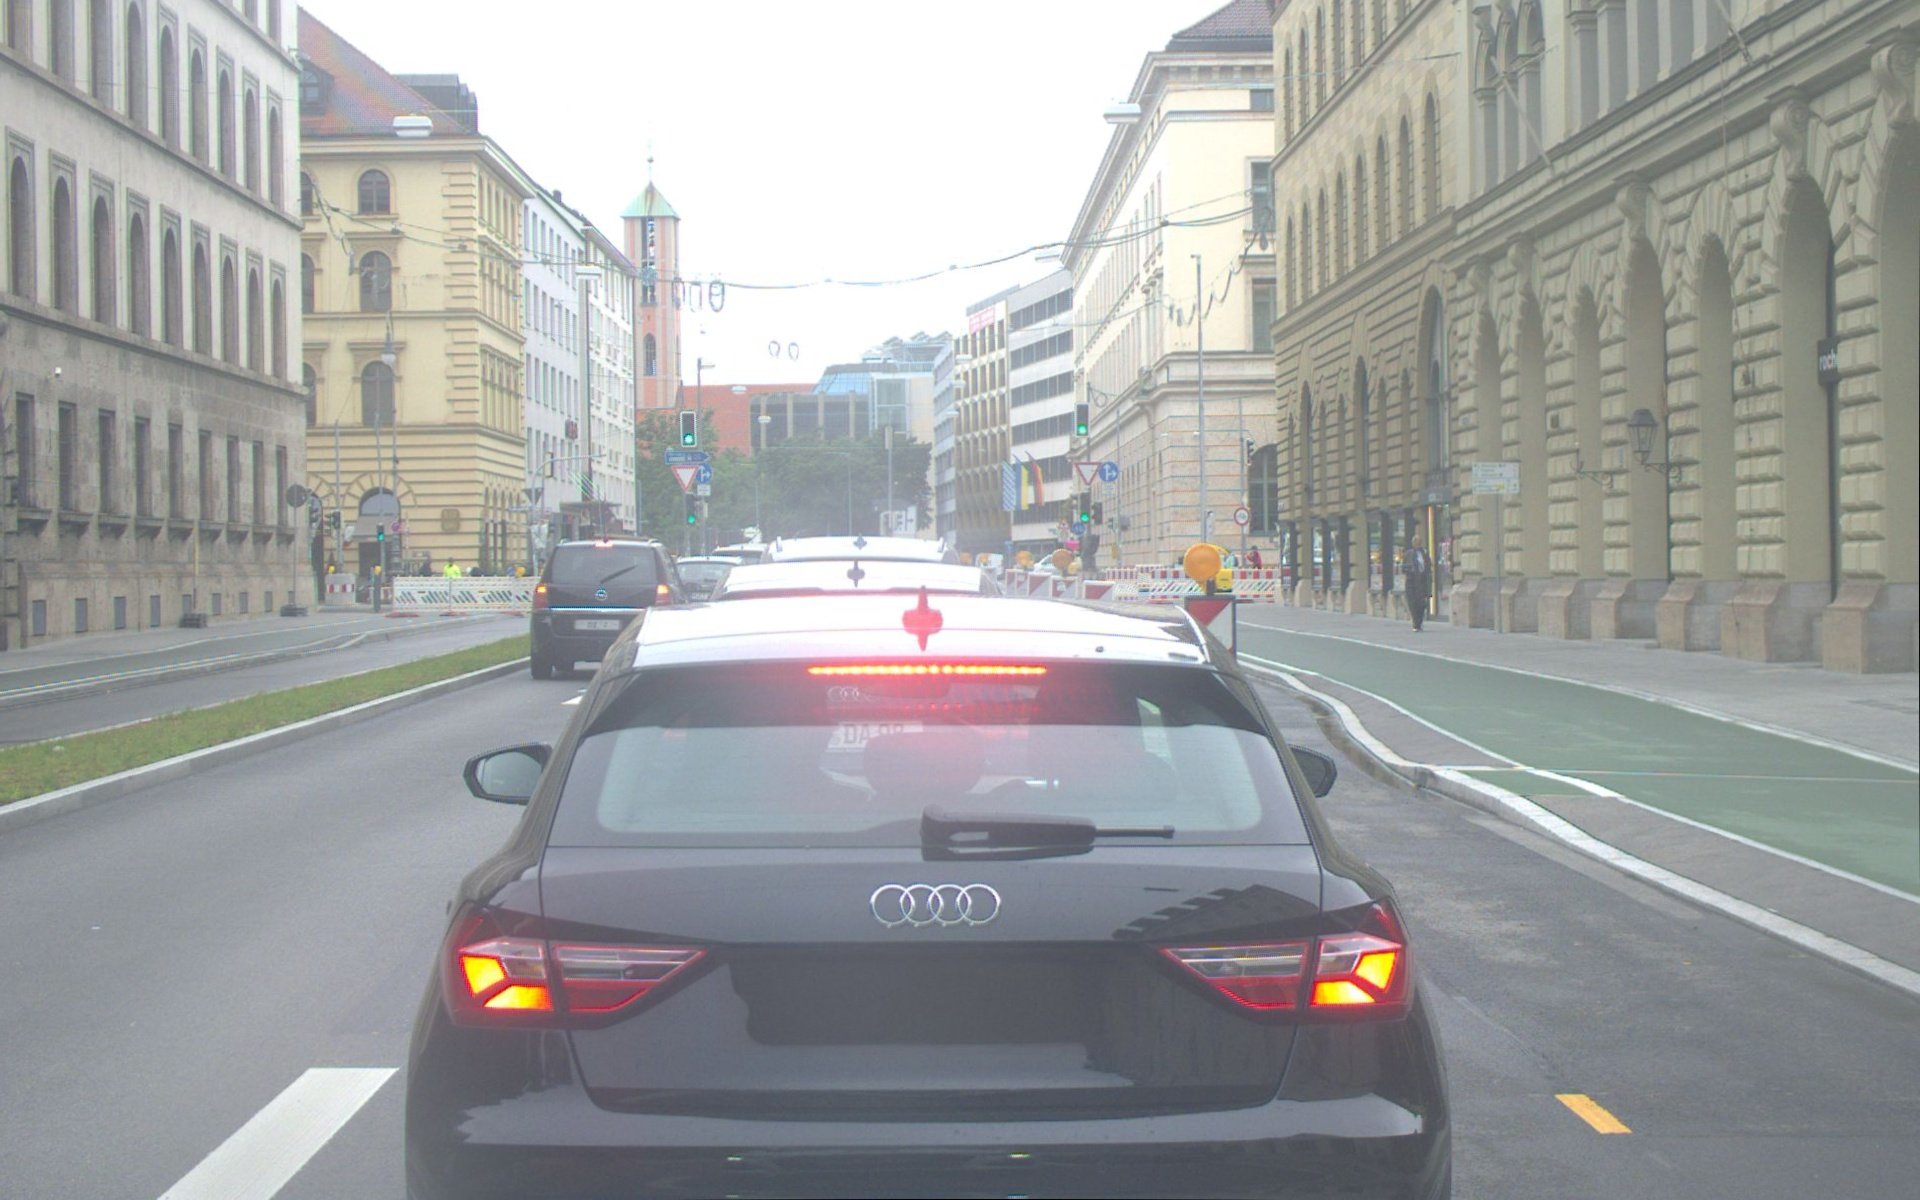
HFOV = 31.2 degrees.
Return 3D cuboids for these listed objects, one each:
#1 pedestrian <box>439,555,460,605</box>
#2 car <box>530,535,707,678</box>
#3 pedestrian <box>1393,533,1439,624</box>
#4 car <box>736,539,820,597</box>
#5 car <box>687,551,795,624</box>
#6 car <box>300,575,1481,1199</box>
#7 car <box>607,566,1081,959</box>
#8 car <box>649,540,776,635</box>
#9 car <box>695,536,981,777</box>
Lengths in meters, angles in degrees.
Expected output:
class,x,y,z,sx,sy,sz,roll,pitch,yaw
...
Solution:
class,x,y,z,sx,sy,sz,roll,pitch,yaw
pedestrian,-18.515,-0.737,124.774,0.656,1.799,0.727,-1,1,-1
car,-4.022,0.037,41.002,1.764,1.610,4.030,1,1,-1
pedestrian,8.160,-0.380,61.538,0.710,1.612,0.754,-1,1,-1
car,-4.672,-0.835,88.833,1.993,1.439,4.000,-1,1,0
car,-4.490,-0.285,70.982,1.993,1.439,4.000,-1,1,0
car,-0.138,0.679,7.073,1.730,1.398,4.000,1,1,-1
car,-0.461,0.581,14.682,1.730,1.398,4.000,1,1,-1
car,-4.367,-0.244,61.264,1.993,1.622,4.000,-1,1,0
car,-0.781,0.311,23.064,1.730,1.456,4.000,1,1,-1
